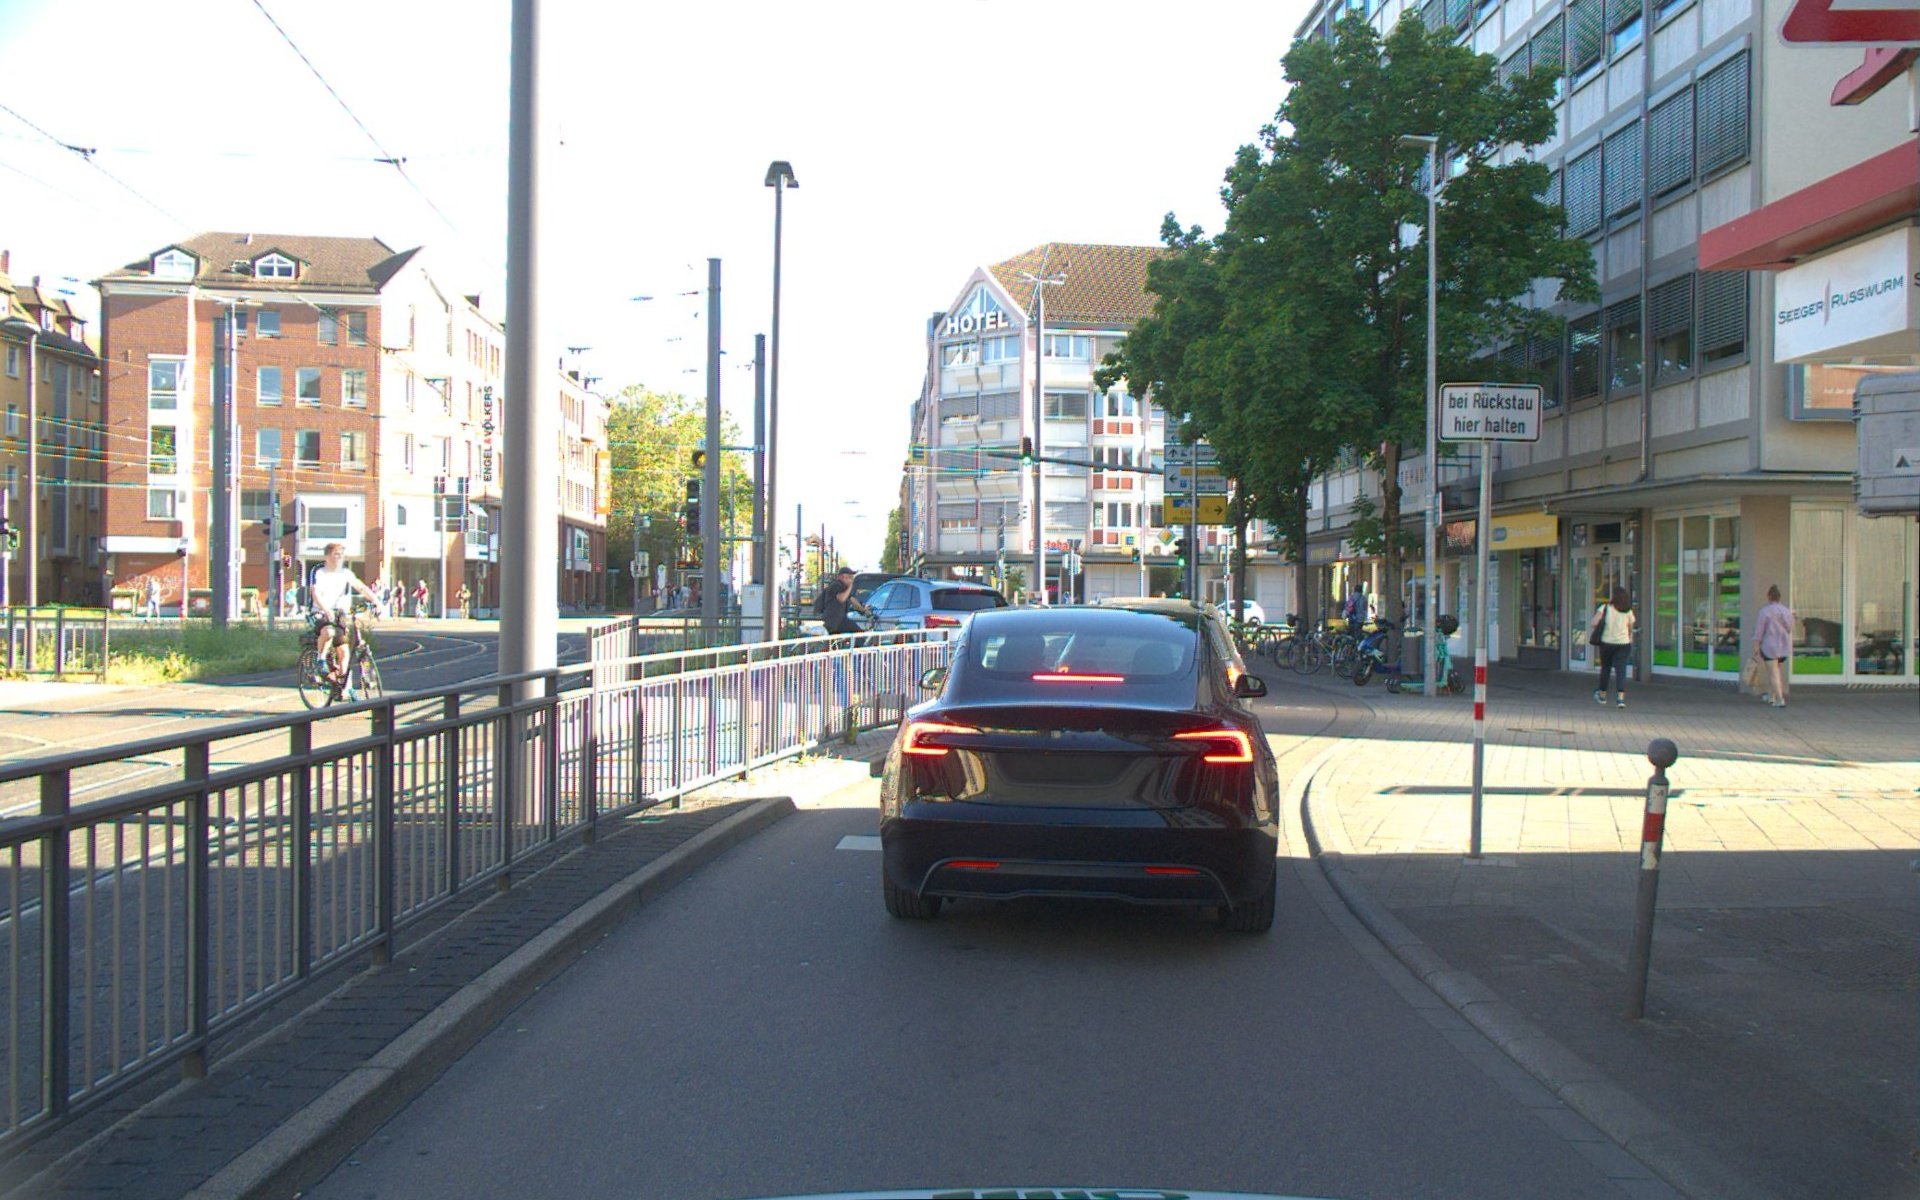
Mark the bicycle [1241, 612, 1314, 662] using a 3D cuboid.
[{"bbox_3d":[7.375,0.862,38.399,1.616,1.118,0.350,1,-1,1],"label":"bicycle"}]

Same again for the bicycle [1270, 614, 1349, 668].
[{"bbox_3d":[7.491,0.870,35.448,1.616,1.118,0.350,1,-1,1],"label":"bicycle"}]

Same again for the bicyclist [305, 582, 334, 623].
[{"bbox_3d":[-24.900,0.096,64.294,0.767,1.590,0.746,1,-1,1],"label":"bicyclist"}]

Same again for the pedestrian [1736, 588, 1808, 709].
[{"bbox_3d":[11.680,0.684,23.806,0.871,1.696,0.808,1,-1,23],"label":"pedestrian"}]

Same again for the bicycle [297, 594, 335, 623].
[{"bbox_3d":[-24.915,0.333,64.018,0.526,1.107,2.225,1,0,1],"label":"bicycle"}]

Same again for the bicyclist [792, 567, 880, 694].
[{"bbox_3d":[-1.665,0.400,22.191,0.753,1.657,0.964,1,-1,-39],"label":"bicyclist"}]

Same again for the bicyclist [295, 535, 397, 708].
[{"bbox_3d":[-6.542,0.224,17.617,0.740,1.790,0.753,0,-1,44],"label":"bicyclist"}]

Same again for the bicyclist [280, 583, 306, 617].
[{"bbox_3d":[-29.691,-0.018,73.674,0.689,1.496,0.973,0,0,7],"label":"bicyclist"}]

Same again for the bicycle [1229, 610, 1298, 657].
[{"bbox_3d":[7.419,0.816,40.440,1.616,1.118,0.350,1,-1,1],"label":"bicycle"}]

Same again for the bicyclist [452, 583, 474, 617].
[{"bbox_3d":[-23.779,0.002,79.169,0.767,1.590,0.746,1,-1,1],"label":"bicyclist"}]

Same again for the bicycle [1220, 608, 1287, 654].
[{"bbox_3d":[7.354,0.773,41.485,1.616,1.118,0.350,0,0,1],"label":"bicycle"}]

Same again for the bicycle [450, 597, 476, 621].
[{"bbox_3d":[-23.775,0.438,79.153,0.518,1.107,2.225,1,0,1],"label":"bicycle"}]

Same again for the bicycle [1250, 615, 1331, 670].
[{"bbox_3d":[6.865,0.882,34.352,1.620,1.118,0.349,1,-1,-11],"label":"bicycle"}]

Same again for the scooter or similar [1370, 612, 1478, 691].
[{"bbox_3d":[7.656,0.836,27.292,1.610,1.236,0.644,1,-1,30],"label":"scooter or similar"}]

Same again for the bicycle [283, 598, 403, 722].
[{"bbox_3d":[-6.601,0.610,17.656,0.482,1.244,1.824,1,-1,-45],"label":"bicycle"}]

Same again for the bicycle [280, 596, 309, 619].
[{"bbox_3d":[-29.676,0.334,73.809,0.396,0.998,1.695,1,0,7],"label":"bicycle"}]

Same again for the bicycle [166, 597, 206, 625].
[{"bbox_3d":[-28.275,0.387,60.451,0.437,0.988,2.246,1,0,-1],"label":"bicycle"}]

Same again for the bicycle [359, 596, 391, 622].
[{"bbox_3d":[-25.115,0.380,71.073,0.518,1.107,2.284,0,0,1],"label":"bicycle"}]

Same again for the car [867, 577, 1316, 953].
[{"bbox_3d":[0.669,0.672,8.692,1.791,1.481,4.002,1,0,4],"label":"car"}]

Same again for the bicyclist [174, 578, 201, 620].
[{"bbox_3d":[-28.262,-0.030,60.512,0.620,1.529,0.696,1,-1,-1],"label":"bicyclist"}]

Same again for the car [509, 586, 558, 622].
[{"bbox_3d":[-21.748,0.198,84.412,1.663,1.762,3.704,1,0,-3],"label":"car"}]

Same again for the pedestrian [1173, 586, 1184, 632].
[{"bbox_3d":[8.389,0.353,63.593,0.393,1.740,0.528,1,-1,6],"label":"pedestrian"}]

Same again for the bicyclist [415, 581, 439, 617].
[{"bbox_3d":[-23.512,-0.041,72.985,0.767,1.590,0.746,0,0,1],"label":"bicyclist"}]

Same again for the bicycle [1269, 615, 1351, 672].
[{"bbox_3d":[7.088,0.883,33.493,1.620,1.118,0.349,1,-1,-11],"label":"bicycle"}]

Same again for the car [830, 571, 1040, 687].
[{"bbox_3d":[-0.496,0.436,26.488,1.859,1.691,4.125,1,0,-25],"label":"car"}]

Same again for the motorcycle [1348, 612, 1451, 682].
[{"bbox_3d":[7.801,0.836,29.369,1.673,1.194,0.541,1,-1,-3],"label":"motorcycle"}]

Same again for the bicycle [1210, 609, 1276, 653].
[{"bbox_3d":[7.284,0.798,42.578,1.616,1.118,0.350,1,-1,1],"label":"bicycle"}]

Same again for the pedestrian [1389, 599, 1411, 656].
[{"bbox_3d":[10.846,0.675,40.786,0.381,1.367,0.513,1,-1,1],"label":"pedestrian"}]

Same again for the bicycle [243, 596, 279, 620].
[{"bbox_3d":[-28.523,0.323,67.530,0.513,0.988,2.246,1,0,-1],"label":"bicycle"}]

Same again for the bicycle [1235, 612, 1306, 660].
[{"bbox_3d":[7.391,0.863,39.426,1.616,1.118,0.350,1,-1,1],"label":"bicycle"}]

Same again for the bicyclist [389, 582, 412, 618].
[{"bbox_3d":[-24.998,0.006,73.939,0.767,1.590,0.746,0,0,1],"label":"bicyclist"}]

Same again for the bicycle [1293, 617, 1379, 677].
[{"bbox_3d":[7.271,0.906,31.969,1.620,1.118,0.349,1,-1,-11],"label":"bicycle"}]

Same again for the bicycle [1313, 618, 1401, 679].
[{"bbox_3d":[7.472,0.914,31.126,1.620,1.118,0.349,1,-1,-11],"label":"bicycle"}]

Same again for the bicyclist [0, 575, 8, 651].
[{"bbox_3d":[-20.095,0.258,33.925,0.769,1.554,0.589,1,-1,1],"label":"bicyclist"}]

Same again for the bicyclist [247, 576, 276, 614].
[{"bbox_3d":[-28.499,-0.189,67.467,0.880,1.529,0.696,1,-1,-1],"label":"bicyclist"}]

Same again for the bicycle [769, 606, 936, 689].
[{"bbox_3d":[-1.427,0.635,22.379,2.313,1.072,0.622,1,-1,-39],"label":"bicycle"}]

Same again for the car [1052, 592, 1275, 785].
[{"bbox_3d":[1.789,0.678,14.977,1.714,1.480,4.003,1,0,6],"label":"car"}]

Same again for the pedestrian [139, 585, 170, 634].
[{"bbox_3d":[-30.998,0.367,63.668,0.767,1.852,0.746,1,-1,1],"label":"pedestrian"}]

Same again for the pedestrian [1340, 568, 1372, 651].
[{"bbox_3d":[9.894,0.239,41.348,0.648,2.049,0.579,1,-1,1],"label":"pedestrian"}]

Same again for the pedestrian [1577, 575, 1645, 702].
[{"bbox_3d":[9.402,0.539,23.889,0.895,1.783,1.038,0,0,22],"label":"pedestrian"}]

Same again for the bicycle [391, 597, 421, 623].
[{"bbox_3d":[-24.962,0.447,74.495,0.518,1.107,2.284,1,0,1],"label":"bicycle"}]

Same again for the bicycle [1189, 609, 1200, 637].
[{"bbox_3d":[8.976,0.886,63.305,0.325,1.052,1.257,1,0,5],"label":"bicycle"}]

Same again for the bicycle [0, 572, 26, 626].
[{"bbox_3d":[-20.086,-0.027,33.956,0.449,1.112,2.202,1,0,3],"label":"bicycle"}]

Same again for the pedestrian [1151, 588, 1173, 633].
[{"bbox_3d":[7.749,0.412,63.489,0.685,1.691,0.777,1,-1,-1],"label":"pedestrian"}]

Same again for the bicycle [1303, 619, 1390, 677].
[{"bbox_3d":[7.375,0.916,31.546,1.620,1.079,0.349,1,-1,-11],"label":"bicycle"}]

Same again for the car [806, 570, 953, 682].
[{"bbox_3d":[-1.656,0.483,32.560,1.962,2.049,3.981,0,0,-17],"label":"car"}]

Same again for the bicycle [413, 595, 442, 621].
[{"bbox_3d":[-23.479,0.356,72.985,0.518,1.107,2.225,0,0,1],"label":"bicycle"}]

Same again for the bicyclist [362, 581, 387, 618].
[{"bbox_3d":[-25.119,-0.010,70.960,0.767,1.590,0.746,0,0,1],"label":"bicyclist"}]
